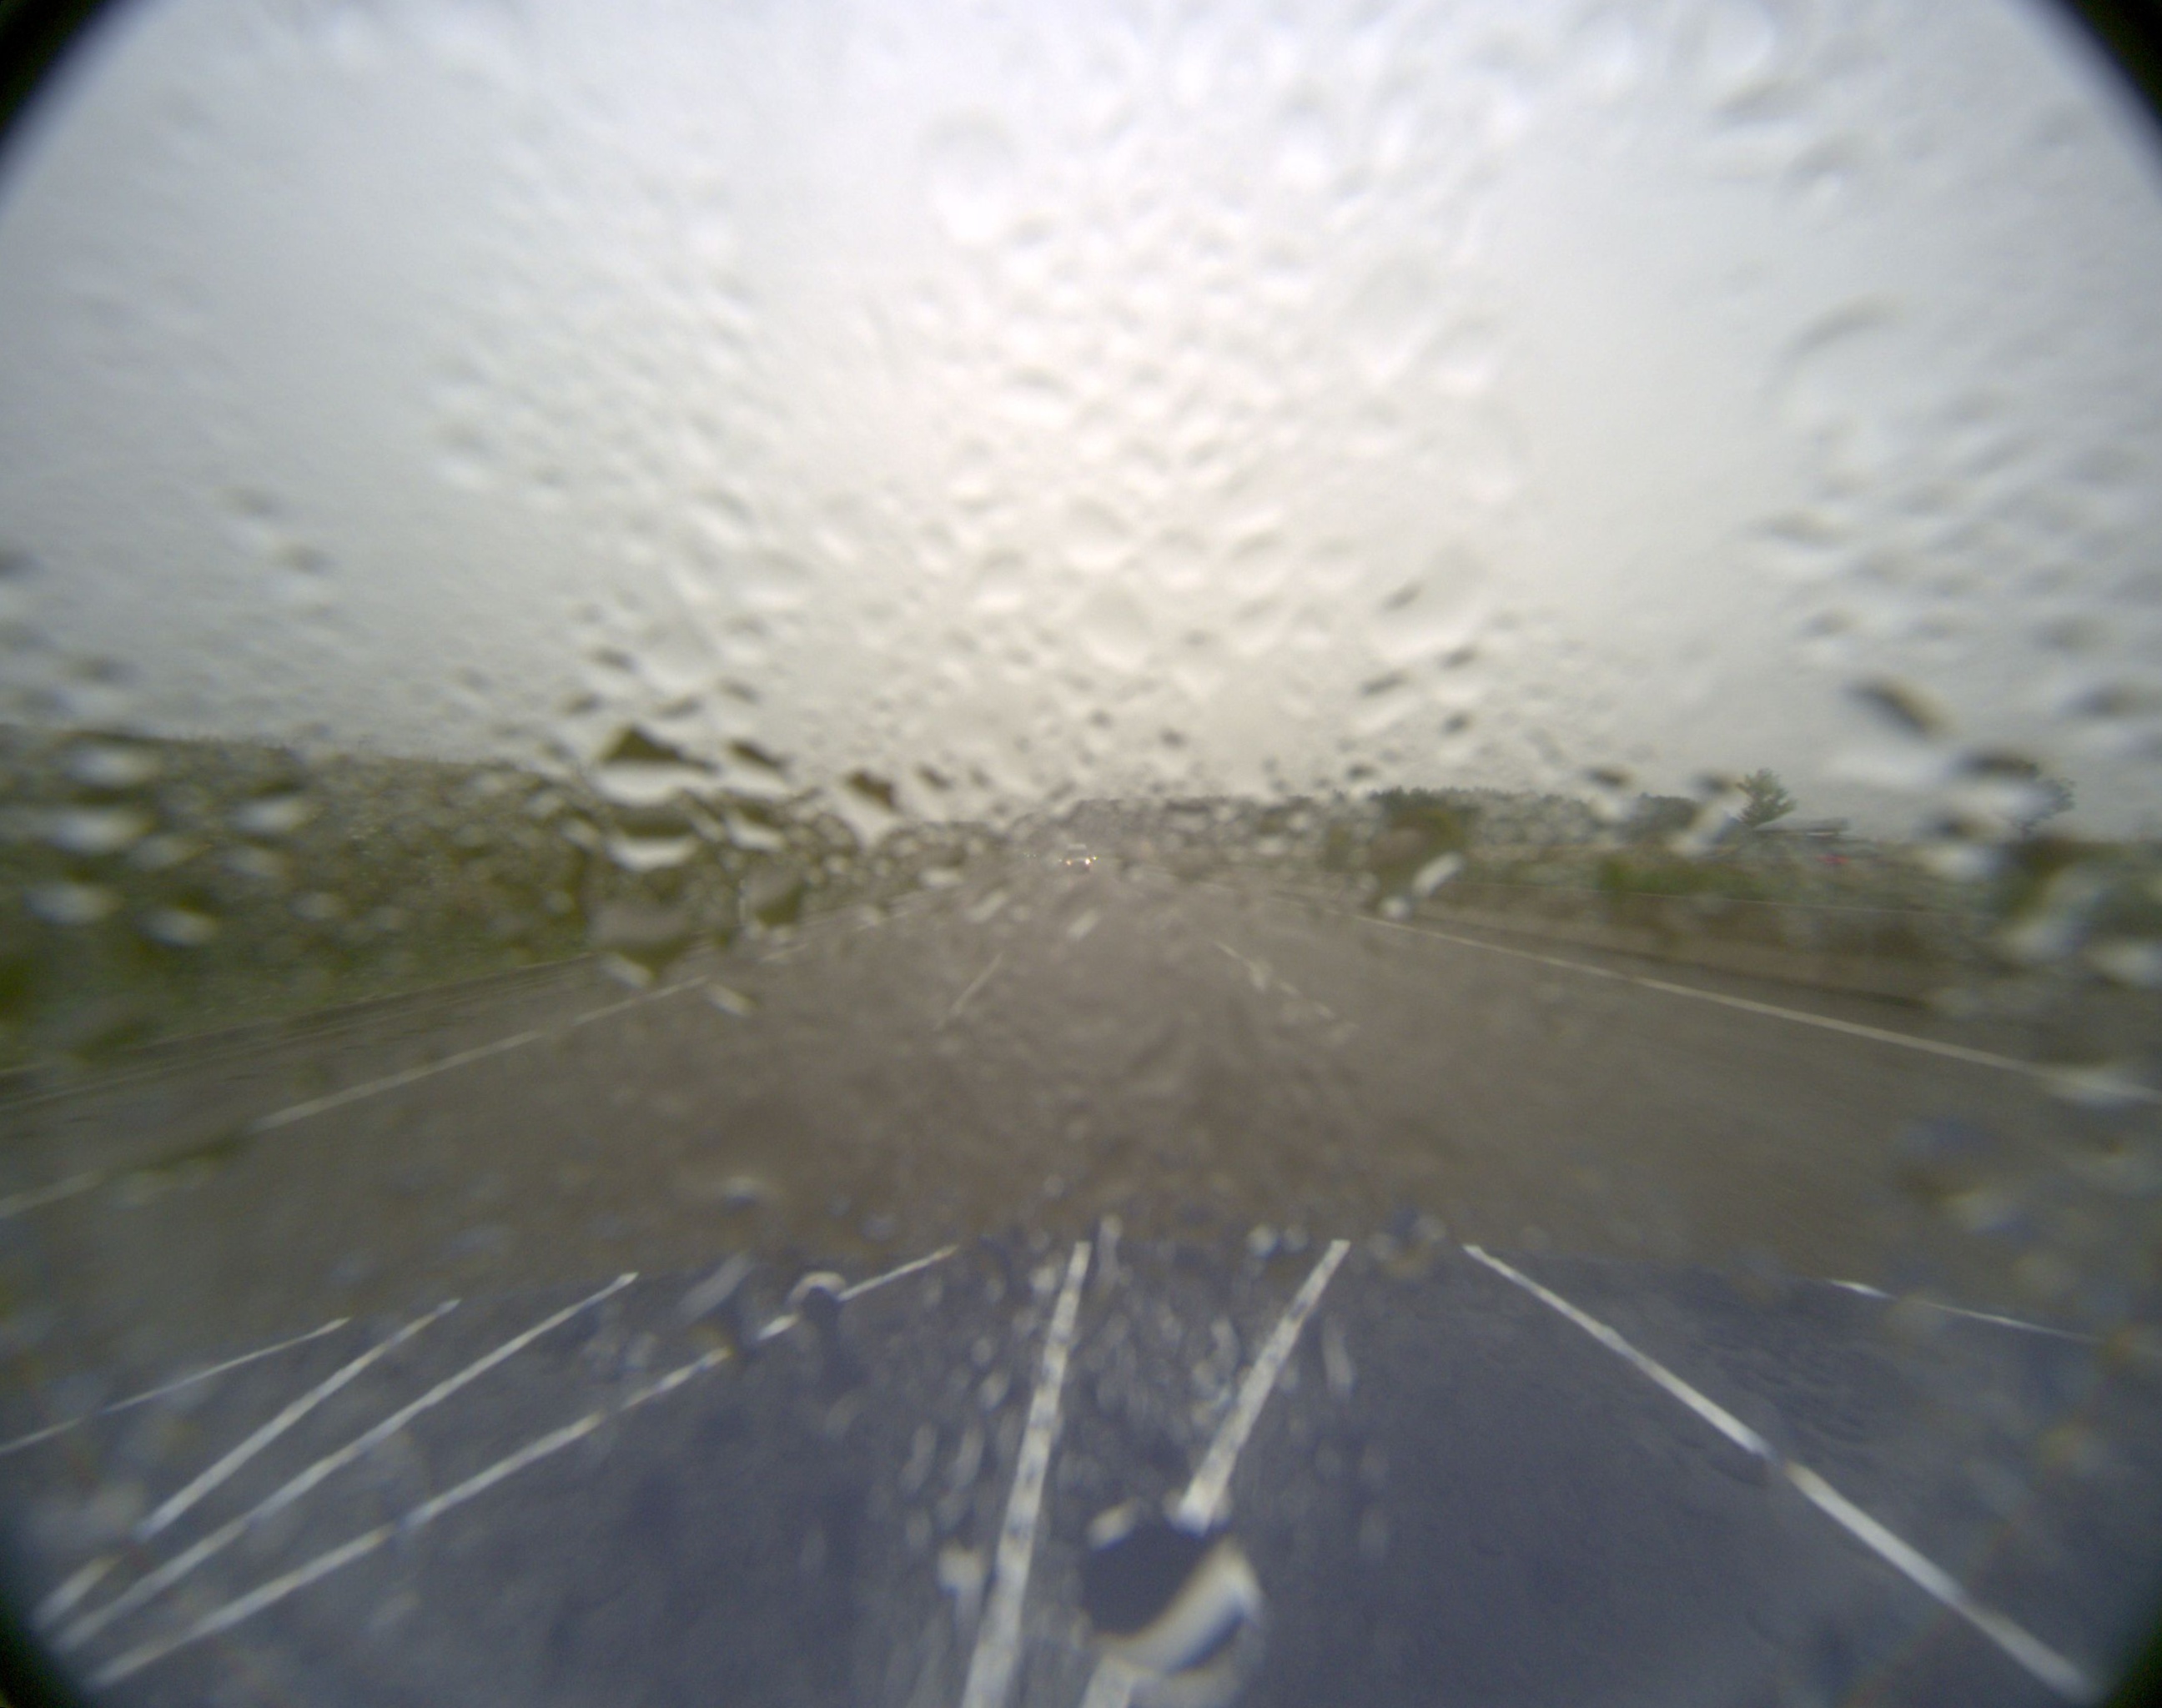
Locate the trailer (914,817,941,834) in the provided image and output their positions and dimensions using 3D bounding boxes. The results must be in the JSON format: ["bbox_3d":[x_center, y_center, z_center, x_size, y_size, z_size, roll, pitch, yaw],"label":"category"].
[{"bbox_3d":[-26.322,-4.808,130.843,2.388,2.589,12.958,-2,1,-3],"label":"trailer"}]

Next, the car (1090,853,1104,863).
[{"bbox_3d":[2.512,0.628,119.281,1.999,1.608,3.999,-2,0,-3],"label":"car"}]

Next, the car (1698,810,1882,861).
[{"bbox_3d":[19.728,-0.488,21.392,1.650,1.250,3.798,-2,0,1],"label":"car"}]

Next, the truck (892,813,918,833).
[{"bbox_3d":[-25.052,-4.401,108.424,2.372,2.589,5.061,-2,1,-1],"label":"truck"}]

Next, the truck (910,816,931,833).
[{"bbox_3d":[-25.939,-4.694,123.022,2.431,2.553,5.078,-2,1,-3],"label":"truck"}]

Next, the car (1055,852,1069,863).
[{"bbox_3d":[-2.957,0.551,117.778,1.999,1.521,3.999,-2,0,-3],"label":"car"}]

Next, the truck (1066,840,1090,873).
[{"bbox_3d":[-0.207,0.146,69.129,1.998,2.699,7.998,-2,1,1],"label":"truck"}]

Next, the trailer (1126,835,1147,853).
[{"bbox_3d":[13.355,-2.361,184.342,3.395,3.995,13.884,-2,0,-2],"label":"trailer"}]
